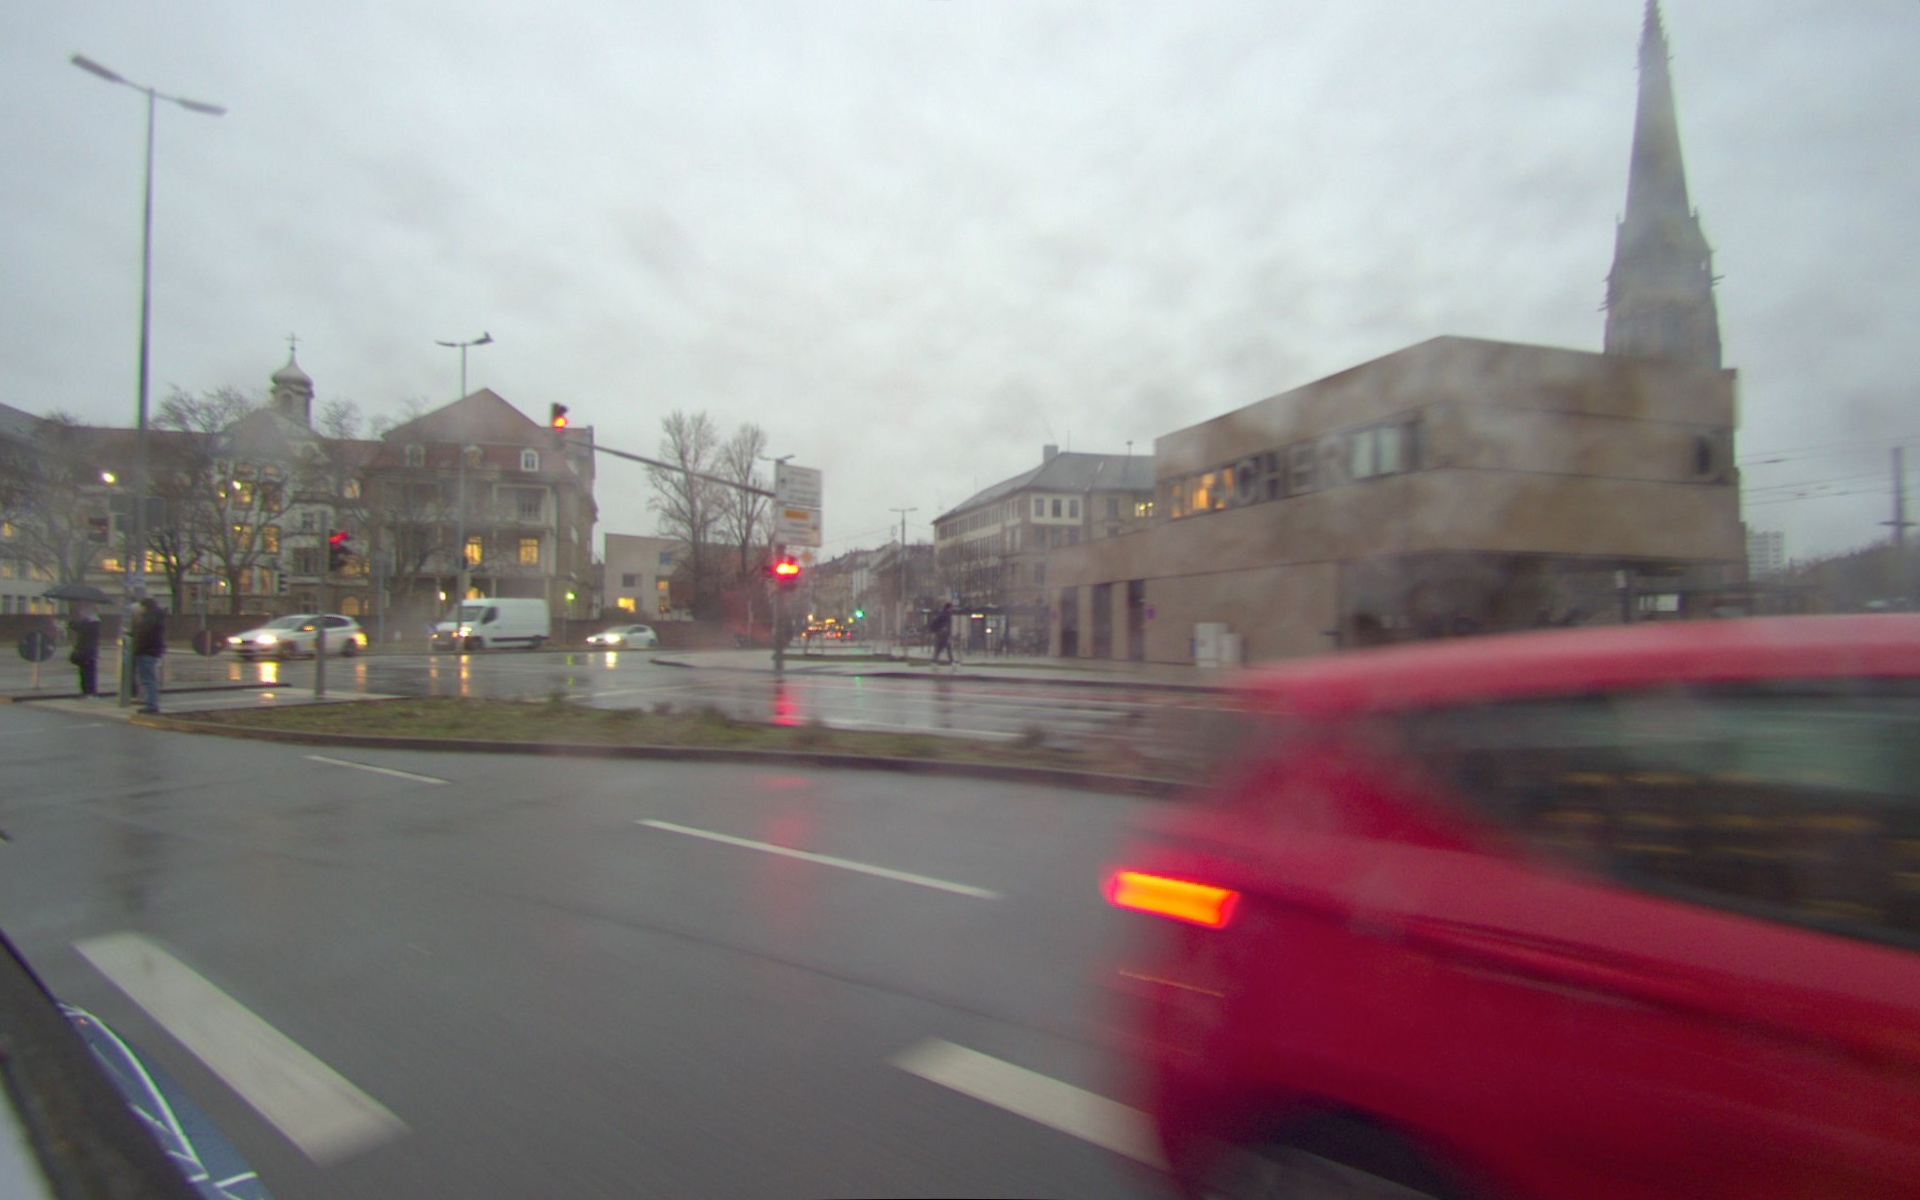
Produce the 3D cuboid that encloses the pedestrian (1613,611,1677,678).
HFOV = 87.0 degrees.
[{"bbox_3d":[17.030,1.098,25.163,0.841,1.615,0.968,1,-3,-18],"label":"pedestrian"}]

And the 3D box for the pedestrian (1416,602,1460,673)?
[{"bbox_3d":[12.000,0.948,25.394,0.731,1.739,0.745,2,-3,-40],"label":"pedestrian"}]

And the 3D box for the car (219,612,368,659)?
[{"bbox_3d":[-23.393,1.256,35.702,1.740,1.515,4.293,-3,-3,17],"label":"car"}]

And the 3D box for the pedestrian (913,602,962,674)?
[{"bbox_3d":[-0.602,1.037,27.322,1.217,1.872,1.035,-2,-3,0],"label":"pedestrian"}]

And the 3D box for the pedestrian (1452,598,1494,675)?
[{"bbox_3d":[12.197,0.873,24.071,0.828,1.781,0.656,-1,-3,26],"label":"pedestrian"}]

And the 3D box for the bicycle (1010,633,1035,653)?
[{"bbox_3d":[3.756,2.587,60.681,0.636,1.113,2.758,-1,-3,-14],"label":"bicycle"}]

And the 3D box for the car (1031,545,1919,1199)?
[{"bbox_3d":[2.189,0.643,1.517,3.867,1.493,1.684,-2,0,39],"label":"car"}]

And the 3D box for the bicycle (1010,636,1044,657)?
[{"bbox_3d":[3.707,2.560,56.195,0.636,1.113,2.760,-1,-2,-23],"label":"bicycle"}]

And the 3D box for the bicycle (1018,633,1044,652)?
[{"bbox_3d":[4.392,2.640,62.750,0.636,1.113,2.759,-1,-3,-17],"label":"bicycle"}]

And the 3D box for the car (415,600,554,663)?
[{"bbox_3d":[-20.919,1.431,44.872,2.327,2.537,5.835,-3,-3,16],"label":"car"}]

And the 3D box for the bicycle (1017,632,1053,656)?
[{"bbox_3d":[3.653,2.147,49.671,0.597,1.113,2.759,-1,-2,-21],"label":"bicycle"}]

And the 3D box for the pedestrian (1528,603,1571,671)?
[{"bbox_3d":[15.326,0.965,26.321,0.731,1.739,0.745,2,-3,-40],"label":"pedestrian"}]

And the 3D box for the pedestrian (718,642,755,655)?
[{"bbox_3d":[-19.295,4.203,87.428,3.048,0.937,0.951,-2,-3,-13],"label":"pedestrian"}]

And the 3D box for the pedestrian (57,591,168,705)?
[{"bbox_3d":[-14.686,0.830,17.572,1.057,1.872,1.034,-2,-3,5],"label":"pedestrian"}]

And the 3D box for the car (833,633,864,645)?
[{"bbox_3d":[-15.955,5.603,145.319,3.932,1.763,1.979,2,-3,-32],"label":"car"}]

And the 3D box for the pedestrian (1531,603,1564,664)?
[{"bbox_3d":[17.116,0.978,29.491,0.742,1.739,0.734,-1,-3,34],"label":"pedestrian"}]

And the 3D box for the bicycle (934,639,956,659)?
[{"bbox_3d":[-0.877,2.856,58.901,0.636,1.113,2.758,-1,-3,-14],"label":"bicycle"}]

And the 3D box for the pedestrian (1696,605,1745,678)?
[{"bbox_3d":[18.626,1.011,24.790,0.758,1.764,0.794,-1,-3,25],"label":"pedestrian"}]

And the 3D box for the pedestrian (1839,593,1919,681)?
[{"bbox_3d":[20.956,0.837,22.966,1.104,1.933,1.066,1,-3,-18],"label":"pedestrian"}]

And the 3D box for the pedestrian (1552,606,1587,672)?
[{"bbox_3d":[16.305,1.037,27.086,0.740,1.739,0.735,-1,-3,28],"label":"pedestrian"}]

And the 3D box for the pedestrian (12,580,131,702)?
[{"bbox_3d":[-15.756,0.736,17.985,1.021,2.065,1.214,-2,-3,3],"label":"pedestrian"}]

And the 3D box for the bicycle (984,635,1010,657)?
[{"bbox_3d":[1.969,2.493,54.237,0.636,1.113,2.758,-1,-3,-14],"label":"bicycle"}]

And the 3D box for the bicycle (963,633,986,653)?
[{"bbox_3d":[0.888,2.605,61.410,0.636,1.113,2.758,-1,-3,-14],"label":"bicycle"}]

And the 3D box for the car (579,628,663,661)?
[{"bbox_3d":[-18.045,2.346,54.151,1.823,1.656,4.789,0,-2,17],"label":"car"}]

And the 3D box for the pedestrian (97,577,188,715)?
[{"bbox_3d":[-12.485,0.714,15.463,1.107,2.021,0.838,-4,-4,37],"label":"pedestrian"}]

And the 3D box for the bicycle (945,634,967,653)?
[{"bbox_3d":[-0.269,2.639,61.211,0.636,1.113,2.758,-1,-3,-14],"label":"bicycle"}]
